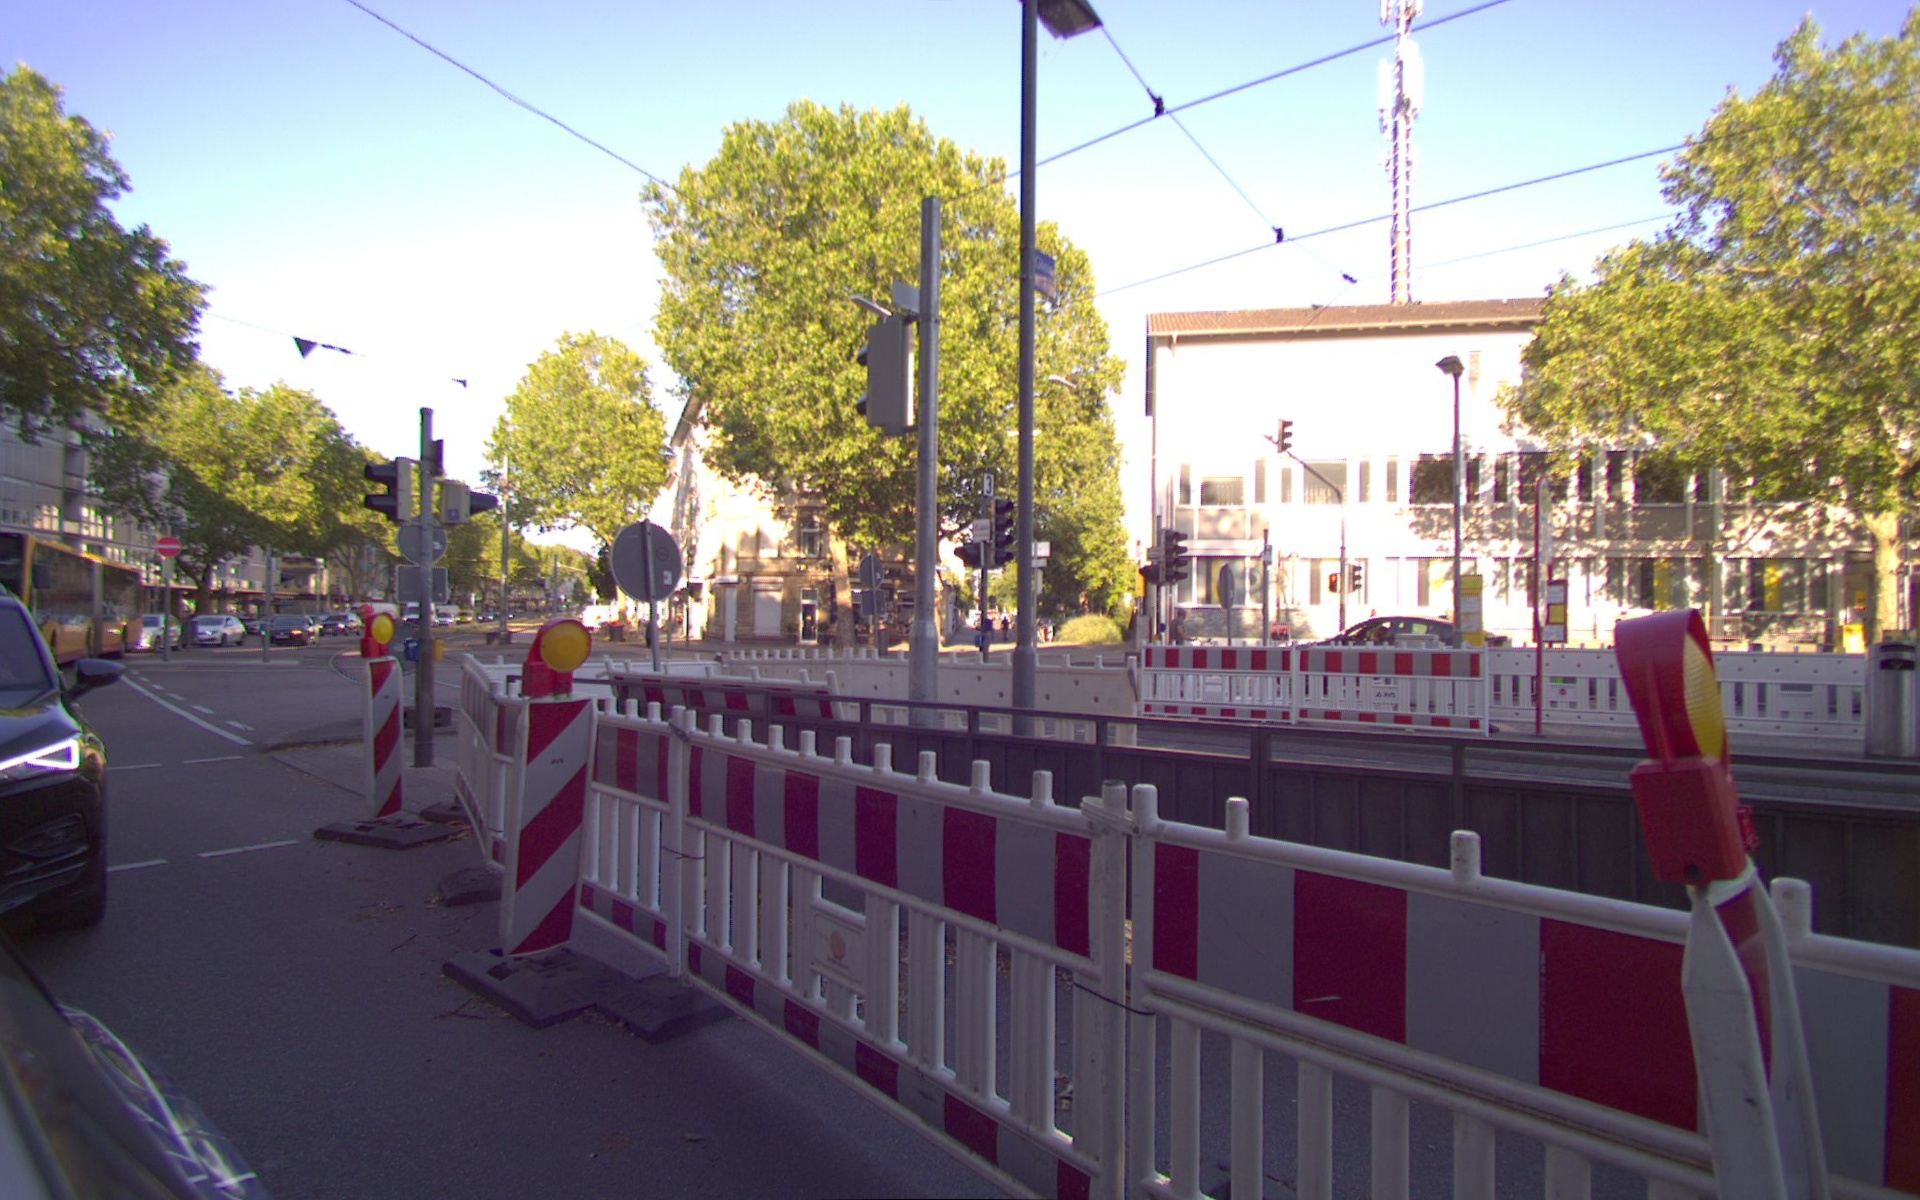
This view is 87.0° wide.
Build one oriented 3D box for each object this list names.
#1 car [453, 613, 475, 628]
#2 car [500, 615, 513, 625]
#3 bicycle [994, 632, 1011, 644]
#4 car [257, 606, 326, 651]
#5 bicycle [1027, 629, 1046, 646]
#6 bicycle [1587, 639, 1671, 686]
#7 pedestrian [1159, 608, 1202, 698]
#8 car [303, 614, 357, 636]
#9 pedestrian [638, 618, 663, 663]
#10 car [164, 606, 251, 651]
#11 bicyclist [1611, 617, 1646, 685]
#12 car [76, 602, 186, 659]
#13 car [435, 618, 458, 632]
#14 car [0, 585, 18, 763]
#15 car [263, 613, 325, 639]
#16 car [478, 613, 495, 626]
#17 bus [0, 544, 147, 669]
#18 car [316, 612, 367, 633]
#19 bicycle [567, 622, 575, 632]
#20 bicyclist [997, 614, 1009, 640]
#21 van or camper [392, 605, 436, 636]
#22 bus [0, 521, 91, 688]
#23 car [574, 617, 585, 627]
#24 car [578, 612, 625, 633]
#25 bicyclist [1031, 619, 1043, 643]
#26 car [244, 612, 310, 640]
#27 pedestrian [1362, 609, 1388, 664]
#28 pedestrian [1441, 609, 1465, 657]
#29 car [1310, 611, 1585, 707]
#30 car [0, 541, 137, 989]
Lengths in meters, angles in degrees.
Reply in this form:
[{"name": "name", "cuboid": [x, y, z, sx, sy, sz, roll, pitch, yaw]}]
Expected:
[{"name": "car", "cuboid": [-60.203, 2.530, 122.922, 1.809, 1.816, 4.143, 1, -2, -19]}, {"name": "car", "cuboid": [-82.700, 3.704, 184.625, 1.809, 1.816, 4.143, 1, -2, -19]}, {"name": "bicycle", "cuboid": [2.869, 2.573, 68.006, 0.676, 0.788, 1.979, 0, -1, 17]}, {"name": "car", "cuboid": [-31.657, 1.339, 48.069, 1.965, 2.029, 4.013, 1, -1, -22]}, {"name": "bicycle", "cuboid": [4.859, 2.338, 64.017, 0.672, 1.039, 2.177, 0, -1, 18]}, {"name": "bicycle", "cuboid": [16.197, 1.491, 24.519, 1.621, 1.073, 0.543, -1, -2, 41]}, {"name": "pedestrian", "cuboid": [4.403, 1.044, 20.218, 0.545, 1.760, 0.693, 1, -2, -24]}, {"name": "car", "cuboid": [-58.470, 2.299, 93.985, 3.938, 2.029, 2.002, 1, -2, -42]}, {"name": "pedestrian", "cuboid": [-10.655, 1.394, 34.875, 0.594, 1.545, 0.746, 1, -2, -37]}, {"name": "car", "cuboid": [-34.883, 1.316, 47.030, 1.966, 2.029, 4.012, 1, -1, -17]}, {"name": "bicyclist", "cuboid": [16.200, 1.220, 24.521, 0.643, 1.626, 0.544, -1, -2, 41]}, {"name": "car", "cuboid": [-30.902, 1.125, 37.860, 1.965, 2.029, 4.111, 1, -1, -21]}, {"name": "car", "cuboid": [-54.371, 2.631, 107.215, 1.675, 1.481, 3.776, 1, -2, -19]}, {"name": "car", "cuboid": [-11.012, 0.691, 10.077, 4.073, 1.656, 1.973, -1, -2, 41]}, {"name": "car", "cuboid": [-54.209, 2.098, 82.401, 3.938, 2.029, 2.002, 1, -2, -42]}, {"name": "car", "cuboid": [-68.627, 2.814, 146.641, 1.809, 1.816, 4.143, 1, -2, -19]}, {"name": "bus", "cuboid": [-25.999, 0.241, 29.228, 2.676, 3.130, 8.622, 1, -2, -31]}, {"name": "car", "cuboid": [-60.237, 2.221, 98.535, 3.938, 2.029, 2.002, 1, -2, -42]}, {"name": "bicycle", "cuboid": [-45.800, 3.161, 119.047, 0.837, 1.202, 2.474, 1, -1, -22]}, {"name": "bicyclist", "cuboid": [2.880, 1.822, 68.065, 0.668, 1.741, 0.761, 0, -2, 17]}, {"name": "van or camper", "cuboid": [-49.624, 1.891, 92.060, 2.385, 2.739, 6.151, 1, -1, -18]}, {"name": "bus", "cuboid": [-21.097, 0.139, 21.959, 2.678, 3.130, 8.641, 1, -2, -36]}, {"name": "car", "cuboid": [-74.490, 4.264, 198.286, 1.965, 2.029, 4.013, 1, -1, -20]}, {"name": "car", "cuboid": [-34.390, 2.171, 97.114, 1.990, 2.029, 3.963, 0, -2, 27]}, {"name": "bicyclist", "cuboid": [4.869, 1.955, 64.071, 0.571, 1.538, 0.841, 0, -2, 17]}, {"name": "car", "cuboid": [-50.466, 1.908, 74.863, 3.932, 2.029, 2.006, 1, -2, -31]}, {"name": "pedestrian", "cuboid": [12.106, 1.062, 29.531, 0.649, 1.564, 0.563, -1, -2, 28]}, {"name": "pedestrian", "cuboid": [15.212, 1.020, 31.246, 0.581, 1.466, 0.583, 0, -2, 18]}, {"name": "car", "cuboid": [9.474, 1.075, 19.850, 4.552, 1.674, 1.974, -1, -2, 38]}, {"name": "car", "cuboid": [-5.515, 0.642, 4.819, 3.998, 1.719, 1.818, -1, -2, 41]}]
